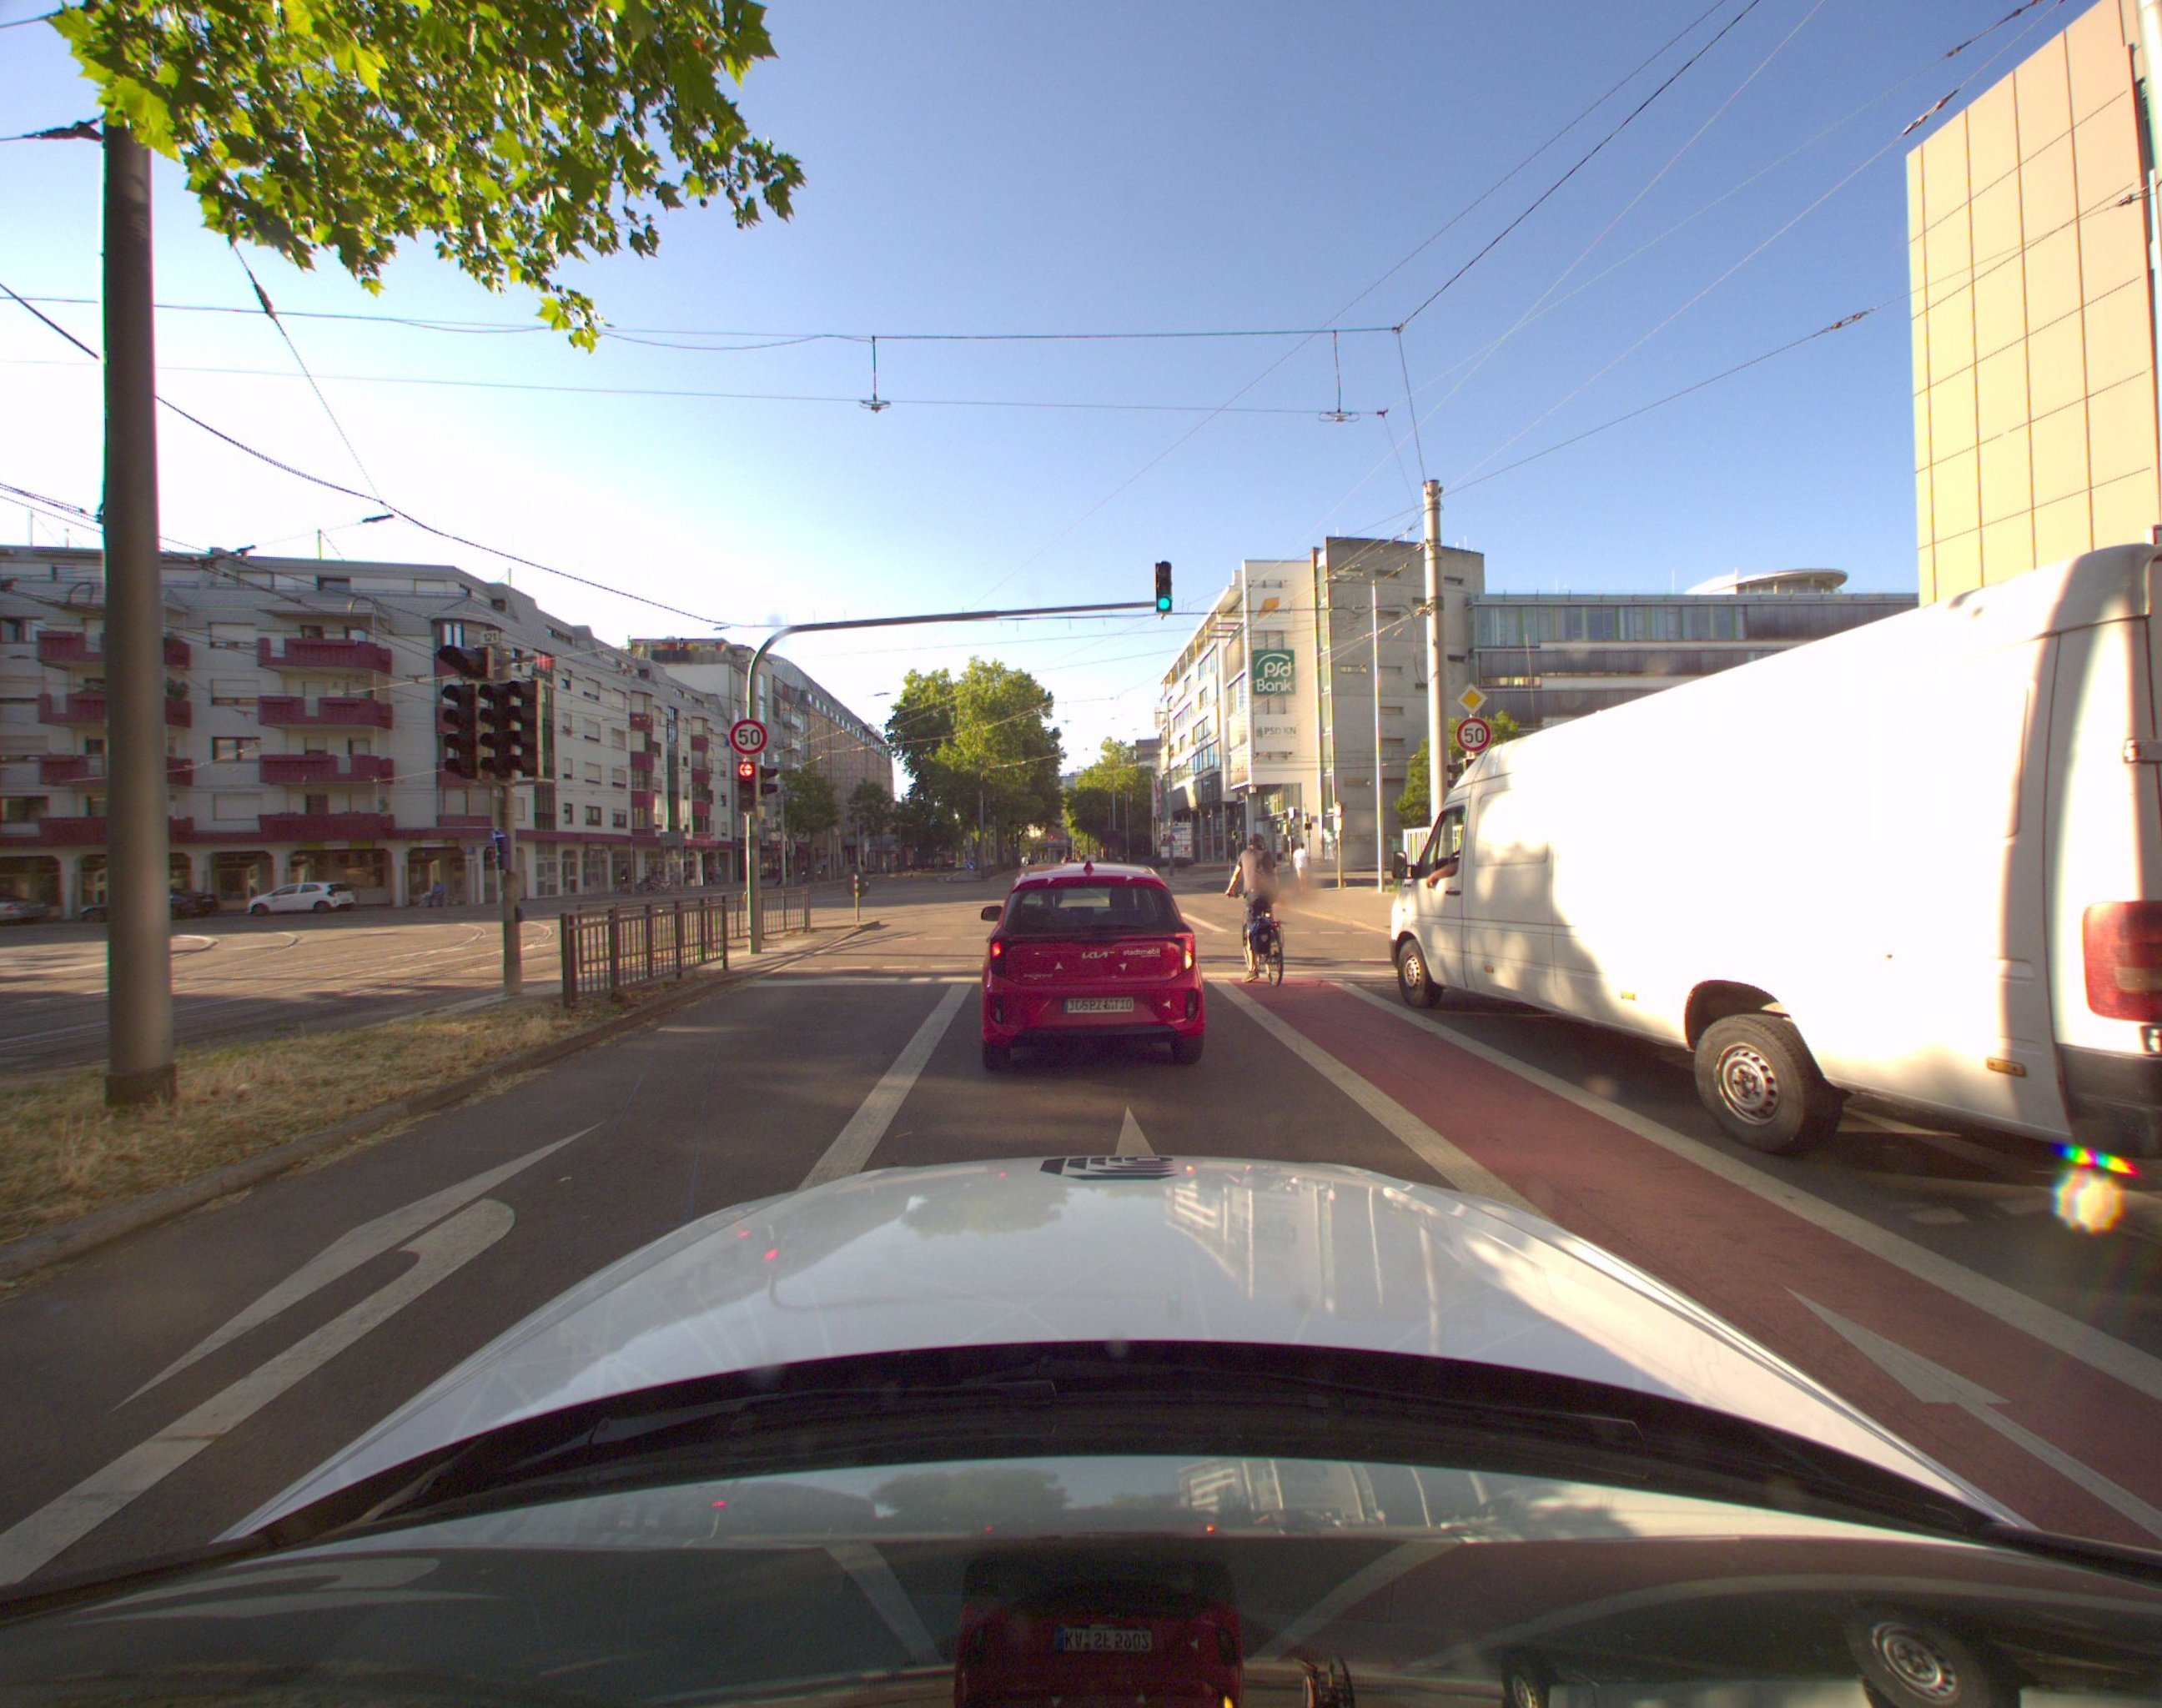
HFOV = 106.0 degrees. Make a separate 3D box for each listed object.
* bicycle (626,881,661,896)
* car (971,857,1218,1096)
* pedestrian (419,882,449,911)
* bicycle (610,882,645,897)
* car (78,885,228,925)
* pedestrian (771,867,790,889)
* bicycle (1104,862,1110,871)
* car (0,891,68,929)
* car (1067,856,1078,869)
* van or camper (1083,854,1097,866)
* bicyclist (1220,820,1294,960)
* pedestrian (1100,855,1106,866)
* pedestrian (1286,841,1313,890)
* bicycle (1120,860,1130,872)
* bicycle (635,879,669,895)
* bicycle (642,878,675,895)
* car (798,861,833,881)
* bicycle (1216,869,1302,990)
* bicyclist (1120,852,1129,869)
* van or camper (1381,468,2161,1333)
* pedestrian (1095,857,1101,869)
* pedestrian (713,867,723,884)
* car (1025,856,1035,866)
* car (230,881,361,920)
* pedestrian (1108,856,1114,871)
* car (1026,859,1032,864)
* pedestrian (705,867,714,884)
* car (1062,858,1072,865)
[{"bbox_3d":[-27.701,2.172,51.554,1.837,0.854,0.553,-2,0,-1],"label":"bicycle"},{"bbox_3d":[0.019,0.803,7.073,1.609,1.535,3.408,-1,0,-3],"label":"car"},{"bbox_3d":[-32.443,2.130,40.850,0.857,1.384,0.833,-2,0,-14],"label":"pedestrian"},{"bbox_3d":[-28.261,2.202,50.793,1.837,0.854,0.553,-2,0,-1],"label":"bicycle"},{"bbox_3d":[-42.425,2.312,37.350,4.112,1.555,1.992,-2,0,-12],"label":"car"},{"bbox_3d":[-21.564,1.692,58.436,1.041,1.544,0.695,-2,0,4],"label":"pedestrian"},{"bbox_3d":[2.982,1.412,92.640,0.519,0.975,2.202,-5,0,1],"label":"bicycle"},{"bbox_3d":[-48.599,2.534,35.951,4.572,1.555,1.992,-2,0,-12],"label":"car"},{"bbox_3d":[-1.321,1.271,123.959,1.631,1.800,3.328,-2,0,-1],"label":"car"},{"bbox_3d":[1.458,0.975,132.475,1.988,1.989,4.741,-1,0,-2],"label":"van or camper"},{"bbox_3d":[2.136,0.417,9.979,0.647,1.603,1.089,-2,0,2],"label":"bicyclist"},{"bbox_3d":[3.605,1.031,134.480,0.888,1.753,0.841,-2,0,1],"label":"pedestrian"},{"bbox_3d":[8.415,0.433,31.381,0.773,1.823,1.218,-2,0,6],"label":"pedestrian"},{"bbox_3d":[4.249,1.125,79.107,0.695,1.098,1.749,-5,0,-3],"label":"bicycle"},{"bbox_3d":[-27.794,2.141,52.824,1.840,0.985,0.552,-2,0,-6],"label":"bicycle"},{"bbox_3d":[-27.707,2.128,53.438,1.840,0.985,0.552,-2,0,-6],"label":"bicycle"},{"bbox_3d":[-24.543,1.577,75.456,1.951,1.672,4.255,-2,0,-4],"label":"car"},{"bbox_3d":[2.129,0.850,9.987,0.647,1.281,1.967,-2,0,2],"label":"bicycle"},{"bbox_3d":[4.219,0.658,79.060,0.720,1.603,1.087,-4,0,-3],"label":"bicyclist"},{"bbox_3d":[4.313,0.145,5.715,1.963,2.716,6.301,-1,0,-1],"label":"van or camper"},{"bbox_3d":[2.252,1.211,110.020,0.641,1.579,0.722,-5,0,-5],"label":"pedestrian"},{"bbox_3d":[-31.217,1.846,70.054,0.533,1.494,0.586,-2,0,-6],"label":"pedestrian"},{"bbox_3d":[-11.002,1.562,176.509,1.991,2.013,3.992,-2,0,-6],"label":"car"},{"bbox_3d":[-37.169,2.166,38.652,3.989,1.555,1.992,-2,0,-12],"label":"car"},{"bbox_3d":[3.414,1.044,92.630,0.644,1.680,0.651,-2,0,1],"label":"pedestrian"},{"bbox_3d":[-16.308,2.293,256.524,1.776,1.535,3.403,-1,0,-8],"label":"car"},{"bbox_3d":[-31.914,1.850,69.919,0.533,1.494,0.586,-2,0,-6],"label":"pedestrian"},{"bbox_3d":[-3.035,1.540,175.602,1.776,1.535,3.503,-1,0,-8],"label":"car"}]
